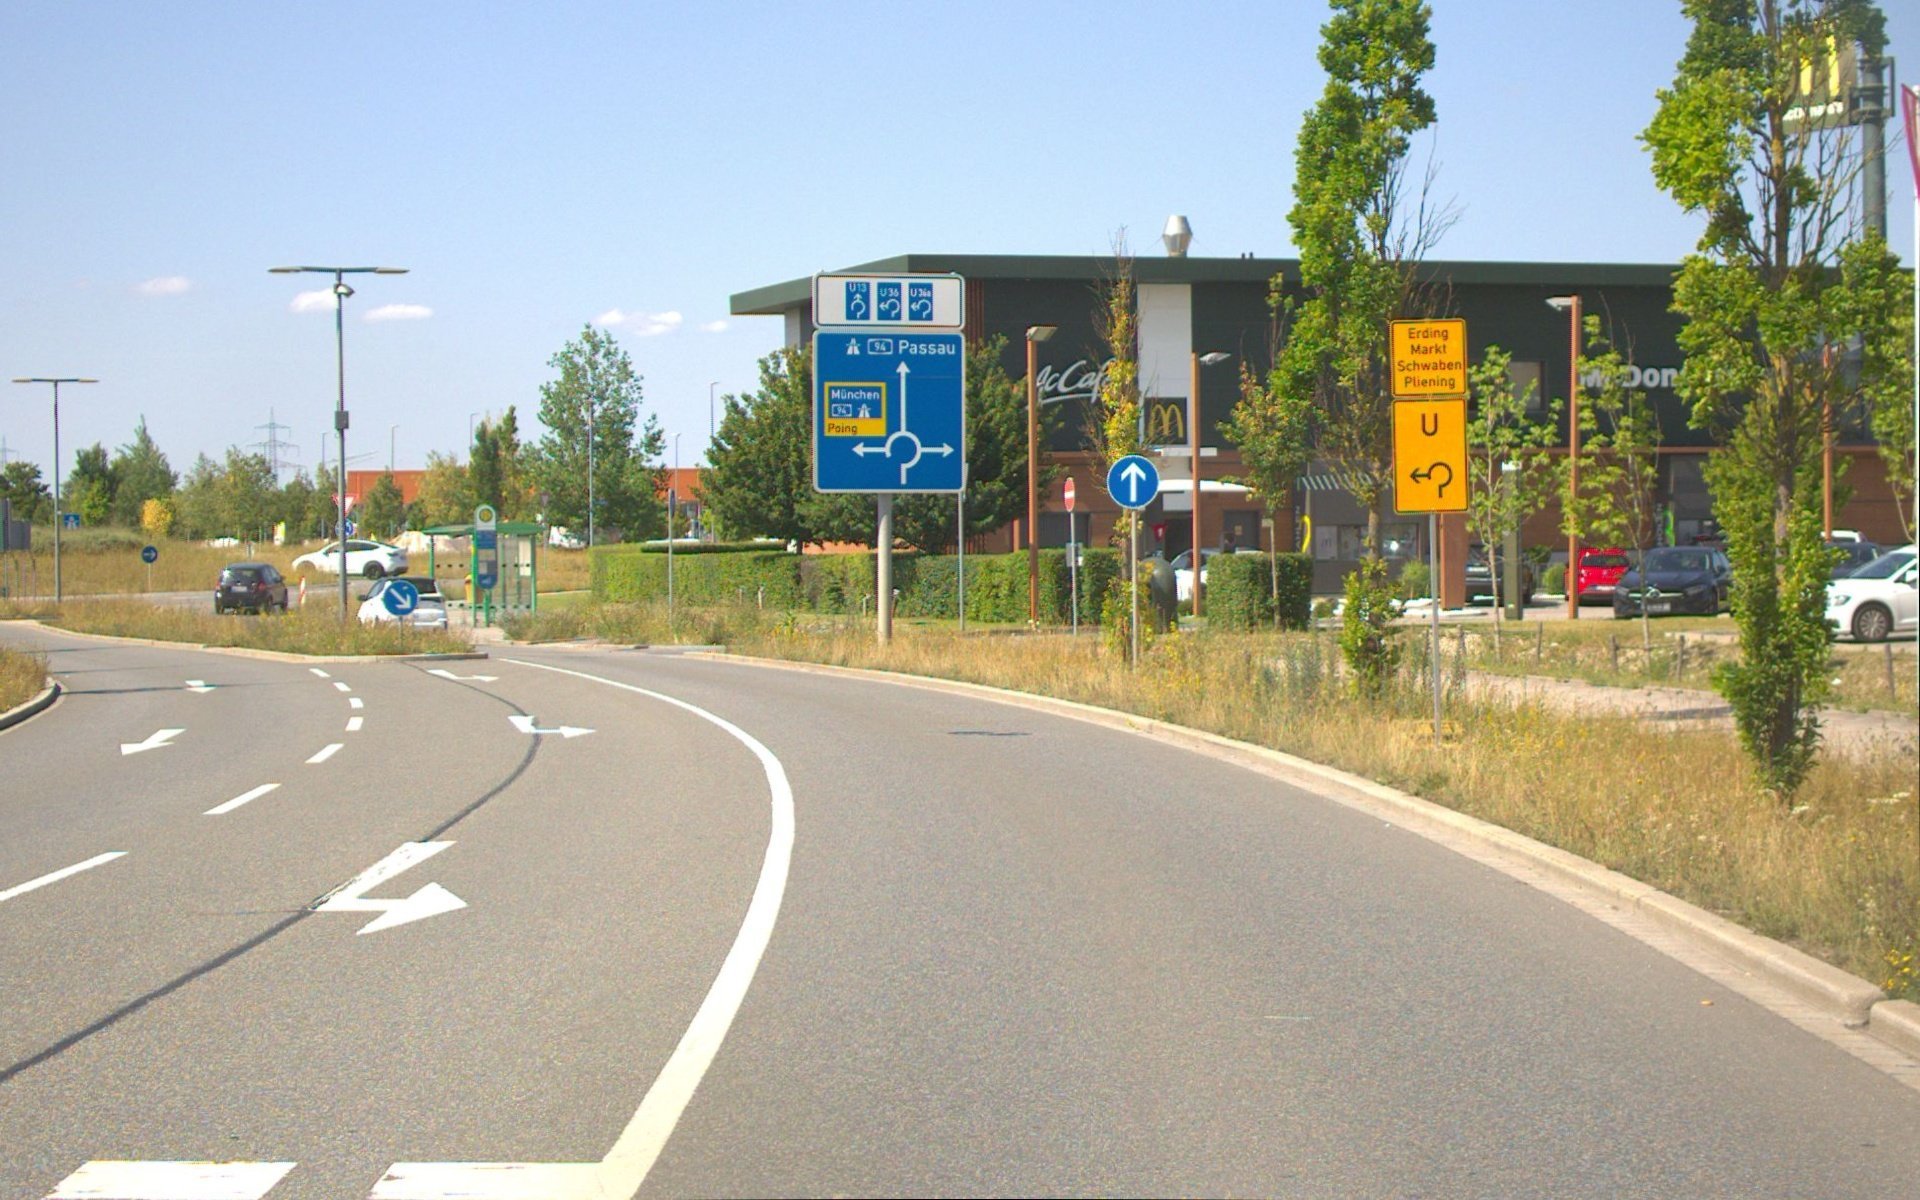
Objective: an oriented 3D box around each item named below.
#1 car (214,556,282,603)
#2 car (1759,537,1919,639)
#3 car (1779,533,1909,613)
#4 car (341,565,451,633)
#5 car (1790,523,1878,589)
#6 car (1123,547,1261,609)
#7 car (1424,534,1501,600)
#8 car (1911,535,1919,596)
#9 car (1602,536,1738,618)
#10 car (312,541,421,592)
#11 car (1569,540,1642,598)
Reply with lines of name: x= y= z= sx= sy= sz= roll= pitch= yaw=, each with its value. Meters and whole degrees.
car: x=-21.957 y=-0.641 z=106.111 sx=1.616 sy=1.429 sz=3.793 roll=-1 pitch=1 yaw=-5
car: x=14.960 y=-0.222 z=53.553 sx=4.524 sy=1.485 sz=1.869 roll=-1 pitch=1 yaw=-13
car: x=16.825 y=-0.533 z=65.323 sx=1.787 sy=1.457 sz=4.164 roll=-1 pitch=1 yaw=23
car: x=-12.295 y=-0.041 z=74.754 sx=1.616 sy=1.429 sz=3.793 roll=-1 pitch=1 yaw=-21
car: x=23.318 y=-1.184 z=91.644 sx=1.794 sy=1.696 sz=3.996 roll=-1 pitch=1 yaw=21
car: x=5.551 y=-0.541 z=82.625 sx=1.792 sy=1.429 sz=4.001 roll=-1 pitch=1 yaw=-21
car: x=12.846 y=-0.855 z=87.789 sx=1.793 sy=1.599 sz=3.998 roll=-1 pitch=1 yaw=10
car: x=23.586 y=-0.811 z=77.261 sx=3.992 sy=1.368 sz=1.796 roll=-1 pitch=1 yaw=26
car: x=13.237 y=-0.446 z=63.942 sx=1.699 sy=1.457 sz=4.164 roll=-1 pitch=1 yaw=23
car: x=-23.815 y=-1.355 z=138.034 sx=3.987 sy=2.007 sz=1.834 roll=0 pitch=1 yaw=3
car: x=16.662 y=-0.814 z=88.825 sx=1.793 sy=1.429 sz=3.998 roll=-1 pitch=1 yaw=10
